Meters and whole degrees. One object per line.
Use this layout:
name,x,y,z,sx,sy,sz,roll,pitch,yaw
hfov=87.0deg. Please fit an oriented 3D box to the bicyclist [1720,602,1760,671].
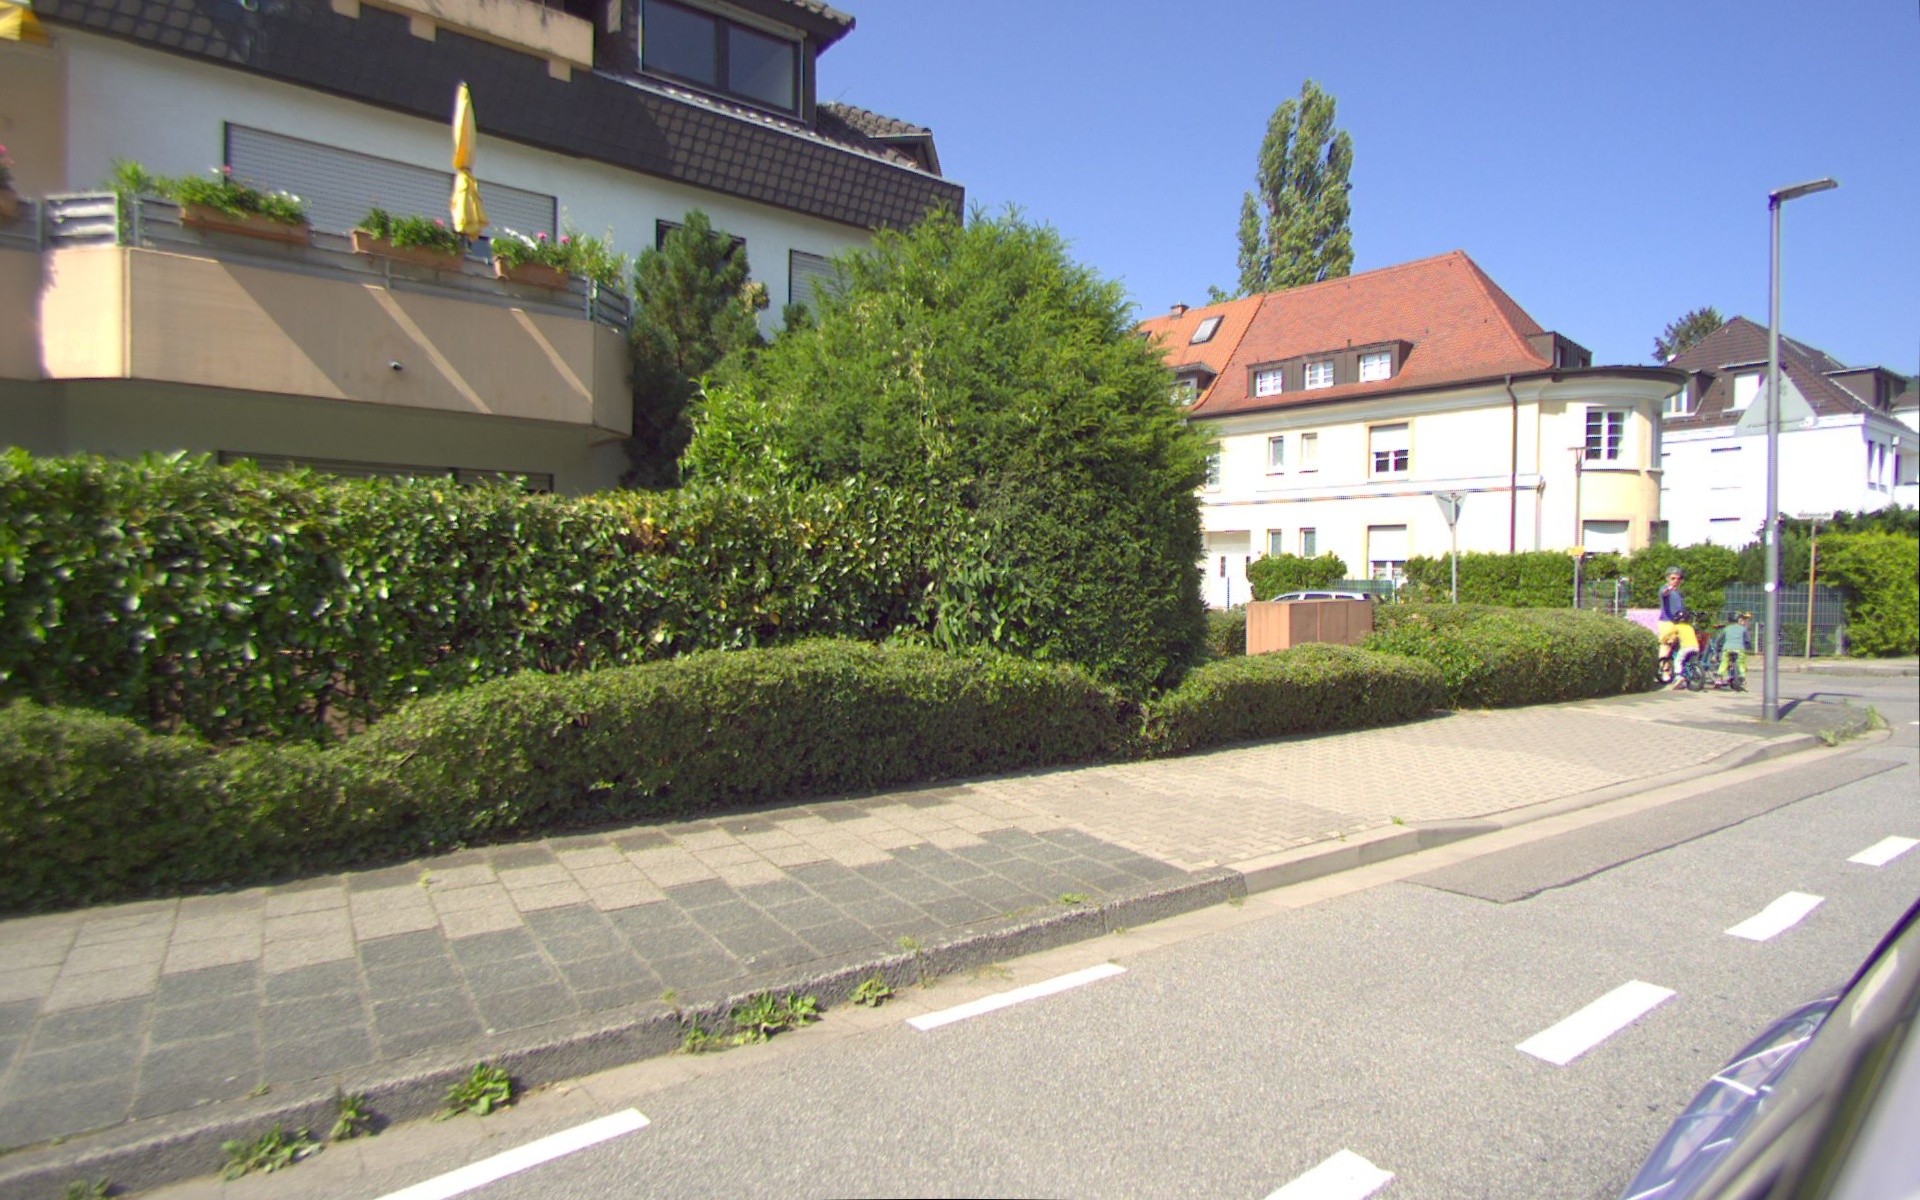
bicyclist,11.124,0.508,14.430,0.401,0.941,0.648,1,2,43

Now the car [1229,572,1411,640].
car,9.043,0.100,25.650,1.781,1.588,3.991,-1,1,-43

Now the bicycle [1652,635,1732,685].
bicycle,10.282,0.830,14.249,0.395,0.607,1.149,1,2,7

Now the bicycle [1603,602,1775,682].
bicycle,12.201,0.651,17.094,0.847,1.173,2.714,0,1,-2

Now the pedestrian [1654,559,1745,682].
pedestrian,11.840,0.295,16.249,0.891,1.896,1.180,0,1,22

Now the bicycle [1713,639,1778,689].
bicycle,11.125,0.892,14.363,0.397,0.607,1.165,1,1,21

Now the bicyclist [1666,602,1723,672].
bicyclist,10.249,0.507,14.137,0.393,0.945,0.607,0,1,8
